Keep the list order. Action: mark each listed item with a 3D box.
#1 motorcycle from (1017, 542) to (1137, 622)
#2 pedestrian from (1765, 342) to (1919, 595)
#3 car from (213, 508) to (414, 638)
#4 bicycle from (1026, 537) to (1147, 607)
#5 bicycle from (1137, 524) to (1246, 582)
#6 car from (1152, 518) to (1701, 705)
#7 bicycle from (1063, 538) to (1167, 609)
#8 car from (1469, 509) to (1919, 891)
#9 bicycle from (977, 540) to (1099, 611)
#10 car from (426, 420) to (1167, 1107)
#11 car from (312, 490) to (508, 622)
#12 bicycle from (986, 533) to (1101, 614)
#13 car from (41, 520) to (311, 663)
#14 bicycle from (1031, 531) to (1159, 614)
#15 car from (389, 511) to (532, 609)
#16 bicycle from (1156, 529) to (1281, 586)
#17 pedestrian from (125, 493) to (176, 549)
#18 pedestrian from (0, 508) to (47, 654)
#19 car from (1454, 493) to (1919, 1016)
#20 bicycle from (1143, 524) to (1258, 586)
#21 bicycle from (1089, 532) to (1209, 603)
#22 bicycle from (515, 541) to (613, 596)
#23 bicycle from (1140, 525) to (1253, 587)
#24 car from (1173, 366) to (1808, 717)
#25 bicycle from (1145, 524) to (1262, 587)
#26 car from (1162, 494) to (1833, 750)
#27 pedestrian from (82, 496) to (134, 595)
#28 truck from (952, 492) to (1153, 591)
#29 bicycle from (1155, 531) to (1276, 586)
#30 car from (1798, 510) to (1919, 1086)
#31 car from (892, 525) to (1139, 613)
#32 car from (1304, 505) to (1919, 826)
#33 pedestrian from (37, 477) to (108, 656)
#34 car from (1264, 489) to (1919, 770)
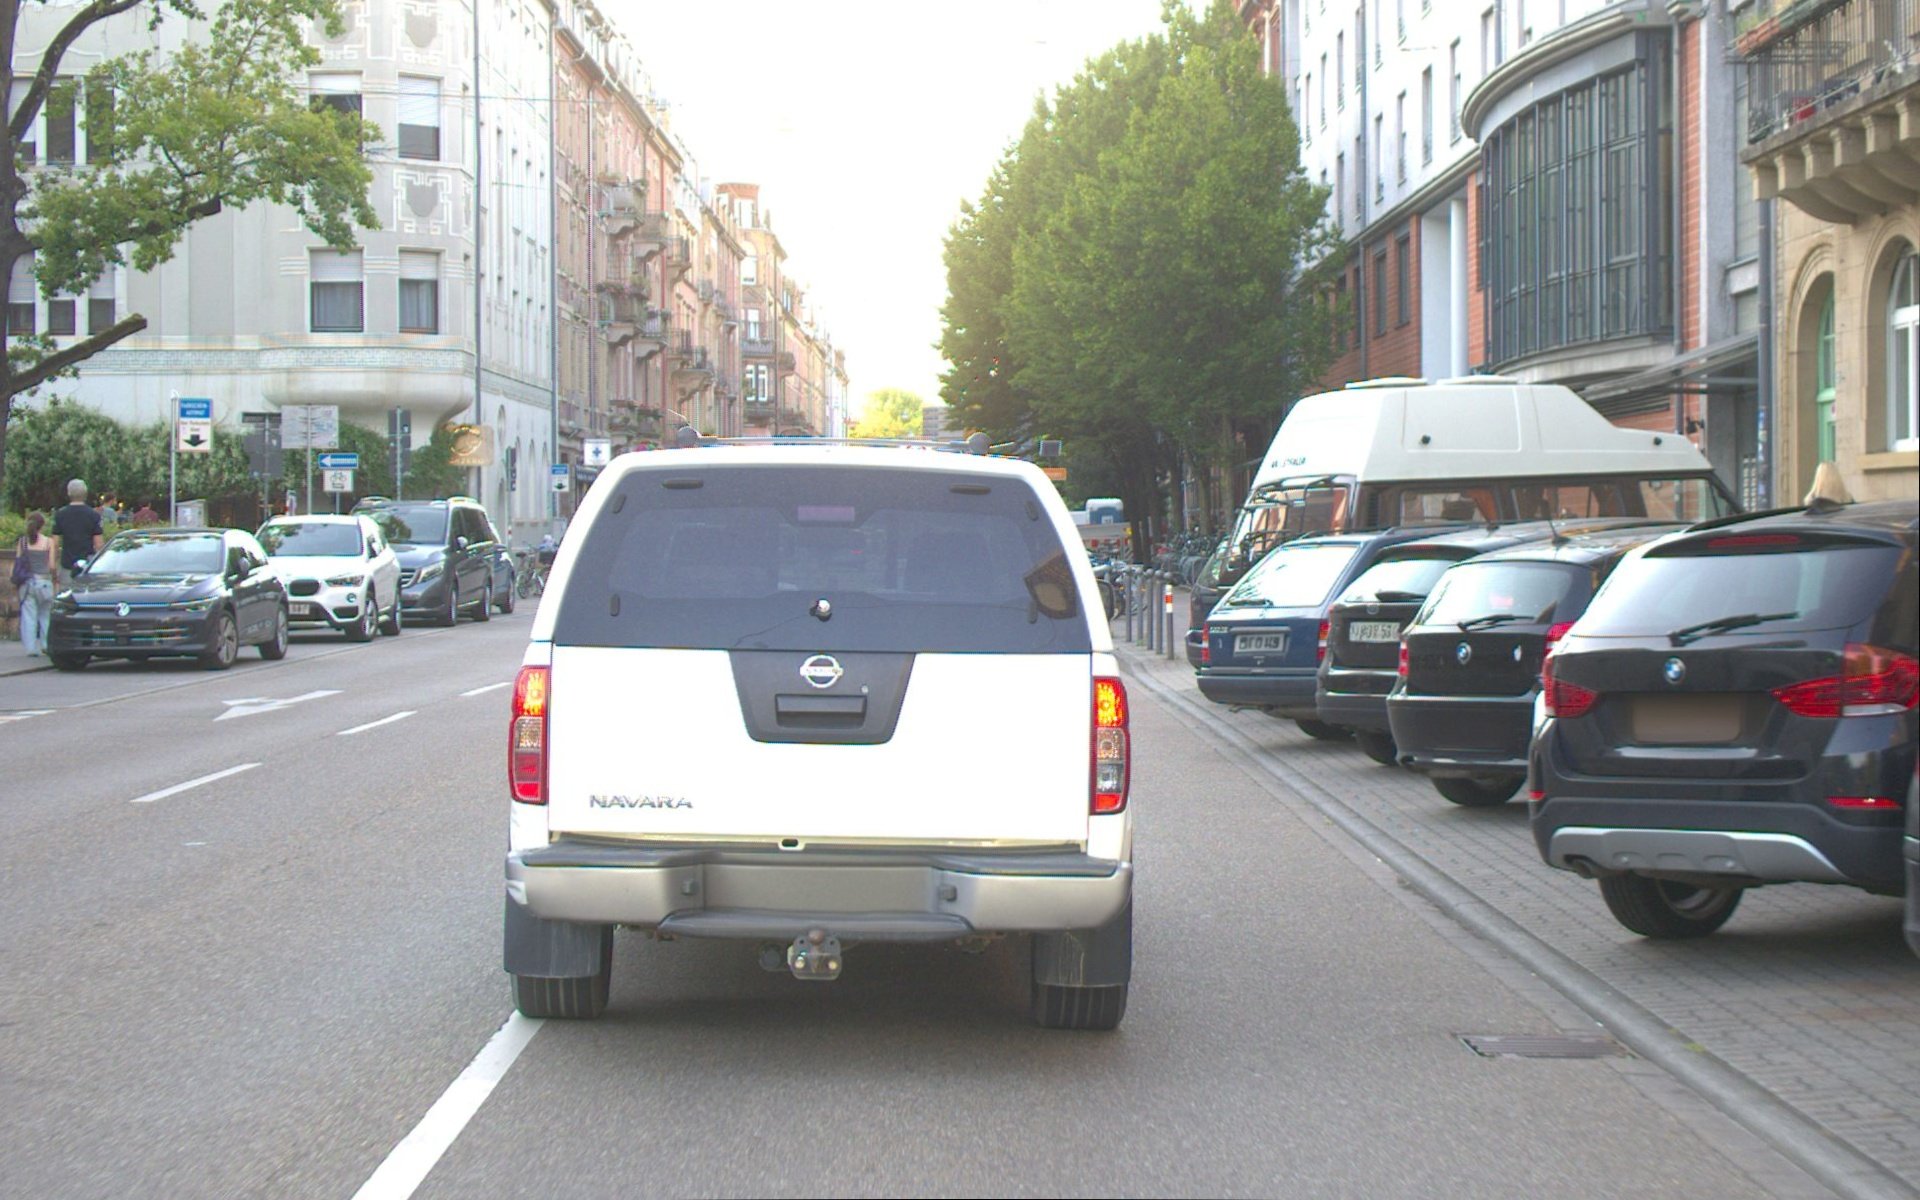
[{"bbox_3d":[1.722,-0.276,50.697,1.644,1.098,0.647,-3,1,-8],"label":"motorcycle"},{"bbox_3d":[7.464,-1.110,29.027,0.607,2.005,0.858,16,3,2],"label":"pedestrian"},{"bbox_3d":[-8.302,-0.380,44.472,1.871,1.586,4.469,0,1,-2],"label":"car"},{"bbox_3d":[1.995,-0.443,54.251,1.857,1.035,0.402,-2,1,-1],"label":"bicycle"},{"bbox_3d":[5.466,-1.113,81.268,2.534,1.375,0.599,0,1,3],"label":"bicycle"},{"bbox_3d":[3.999,0.053,29.388,4.342,1.497,1.913,-1,1,-28],"label":"car"},{"bbox_3d":[2.389,-0.409,53.170,1.539,1.035,0.472,-2,1,-1],"label":"bicycle"},{"bbox_3d":[4.440,0.337,15.701,4.045,1.493,1.754,-3,1,-35],"label":"car"},{"bbox_3d":[1.210,-0.388,53.710,1.857,1.035,0.472,-2,1,-1],"label":"bicycle"},{"bbox_3d":[-0.465,0.385,11.516,1.933,1.788,4.622,2,1,-1],"label":"car"},{"bbox_3d":[-8.178,-0.687,51.589,1.993,1.860,5.289,0,1,1],"label":"car"},{"bbox_3d":[1.271,-0.410,52.626,1.707,1.172,0.472,-2,1,-1],"label":"bicycle"},{"bbox_3d":[-8.230,-0.129,36.464,1.783,1.430,4.316,0,1,1],"label":"car"},{"bbox_3d":[2.036,-0.425,51.953,1.859,1.142,0.659,-3,1,0],"label":"bicycle"},{"bbox_3d":[-8.205,-0.680,56.721,1.640,1.550,4.004,0,1,2],"label":"car"},{"bbox_3d":[5.309,-0.867,70.637,2.534,1.162,0.562,0,1,3],"label":"bicycle"},{"bbox_3d":[-14.159,-1.377,60.148,0.706,0.977,0.837,0,1,-2],"label":"pedestrian"},{"bbox_3d":[-10.208,-0.215,36.952,0.582,1.546,0.839,1,1,-3],"label":"pedestrian"},{"bbox_3d":[3.924,0.395,12.529,4.087,1.602,1.816,-3,1,-38],"label":"car"},{"bbox_3d":[5.320,-0.997,76.238,2.534,1.375,0.599,0,1,3],"label":"bicycle"},{"bbox_3d":[3.027,-0.526,55.131,1.857,1.062,0.524,-2,1,-1],"label":"bicycle"},{"bbox_3d":[-8.361,-0.672,72.587,2.113,1.091,0.500,1,2,25],"label":"bicycle"},{"bbox_3d":[5.329,-0.992,77.601,2.534,1.375,0.599,0,1,3],"label":"bicycle"},{"bbox_3d":[4.172,-0.453,26.854,4.710,2.538,1.918,-1,1,-29],"label":"car"},{"bbox_3d":[5.347,-0.984,75.524,2.534,1.375,0.599,0,1,3],"label":"bicycle"},{"bbox_3d":[3.774,0.106,23.938,4.384,1.481,1.844,-3,2,-30],"label":"car"},{"bbox_3d":[-14.908,-0.958,60.135,0.706,1.715,0.837,0,1,-2],"label":"pedestrian"},{"bbox_3d":[2.964,-1.863,110.005,6.320,2.966,2.264,1,-2,2],"label":"truck"},{"bbox_3d":[5.378,-0.877,72.520,2.534,1.162,0.562,0,1,3],"label":"bicycle"},{"bbox_3d":[4.366,0.434,10.049,3.905,1.539,1.717,-3,0,-41],"label":"car"},{"bbox_3d":[0.980,-0.565,60.495,3.987,1.501,1.770,-1,1,-29],"label":"car"},{"bbox_3d":[4.012,0.270,18.274,4.022,1.427,1.868,-4,1,-34],"label":"car"},{"bbox_3d":[-9.548,-0.367,36.997,0.582,1.899,0.803,0,1,-3],"label":"pedestrian"},{"bbox_3d":[4.125,0.158,21.209,4.108,1.540,1.795,-2,-1,-28],"label":"car"}]
